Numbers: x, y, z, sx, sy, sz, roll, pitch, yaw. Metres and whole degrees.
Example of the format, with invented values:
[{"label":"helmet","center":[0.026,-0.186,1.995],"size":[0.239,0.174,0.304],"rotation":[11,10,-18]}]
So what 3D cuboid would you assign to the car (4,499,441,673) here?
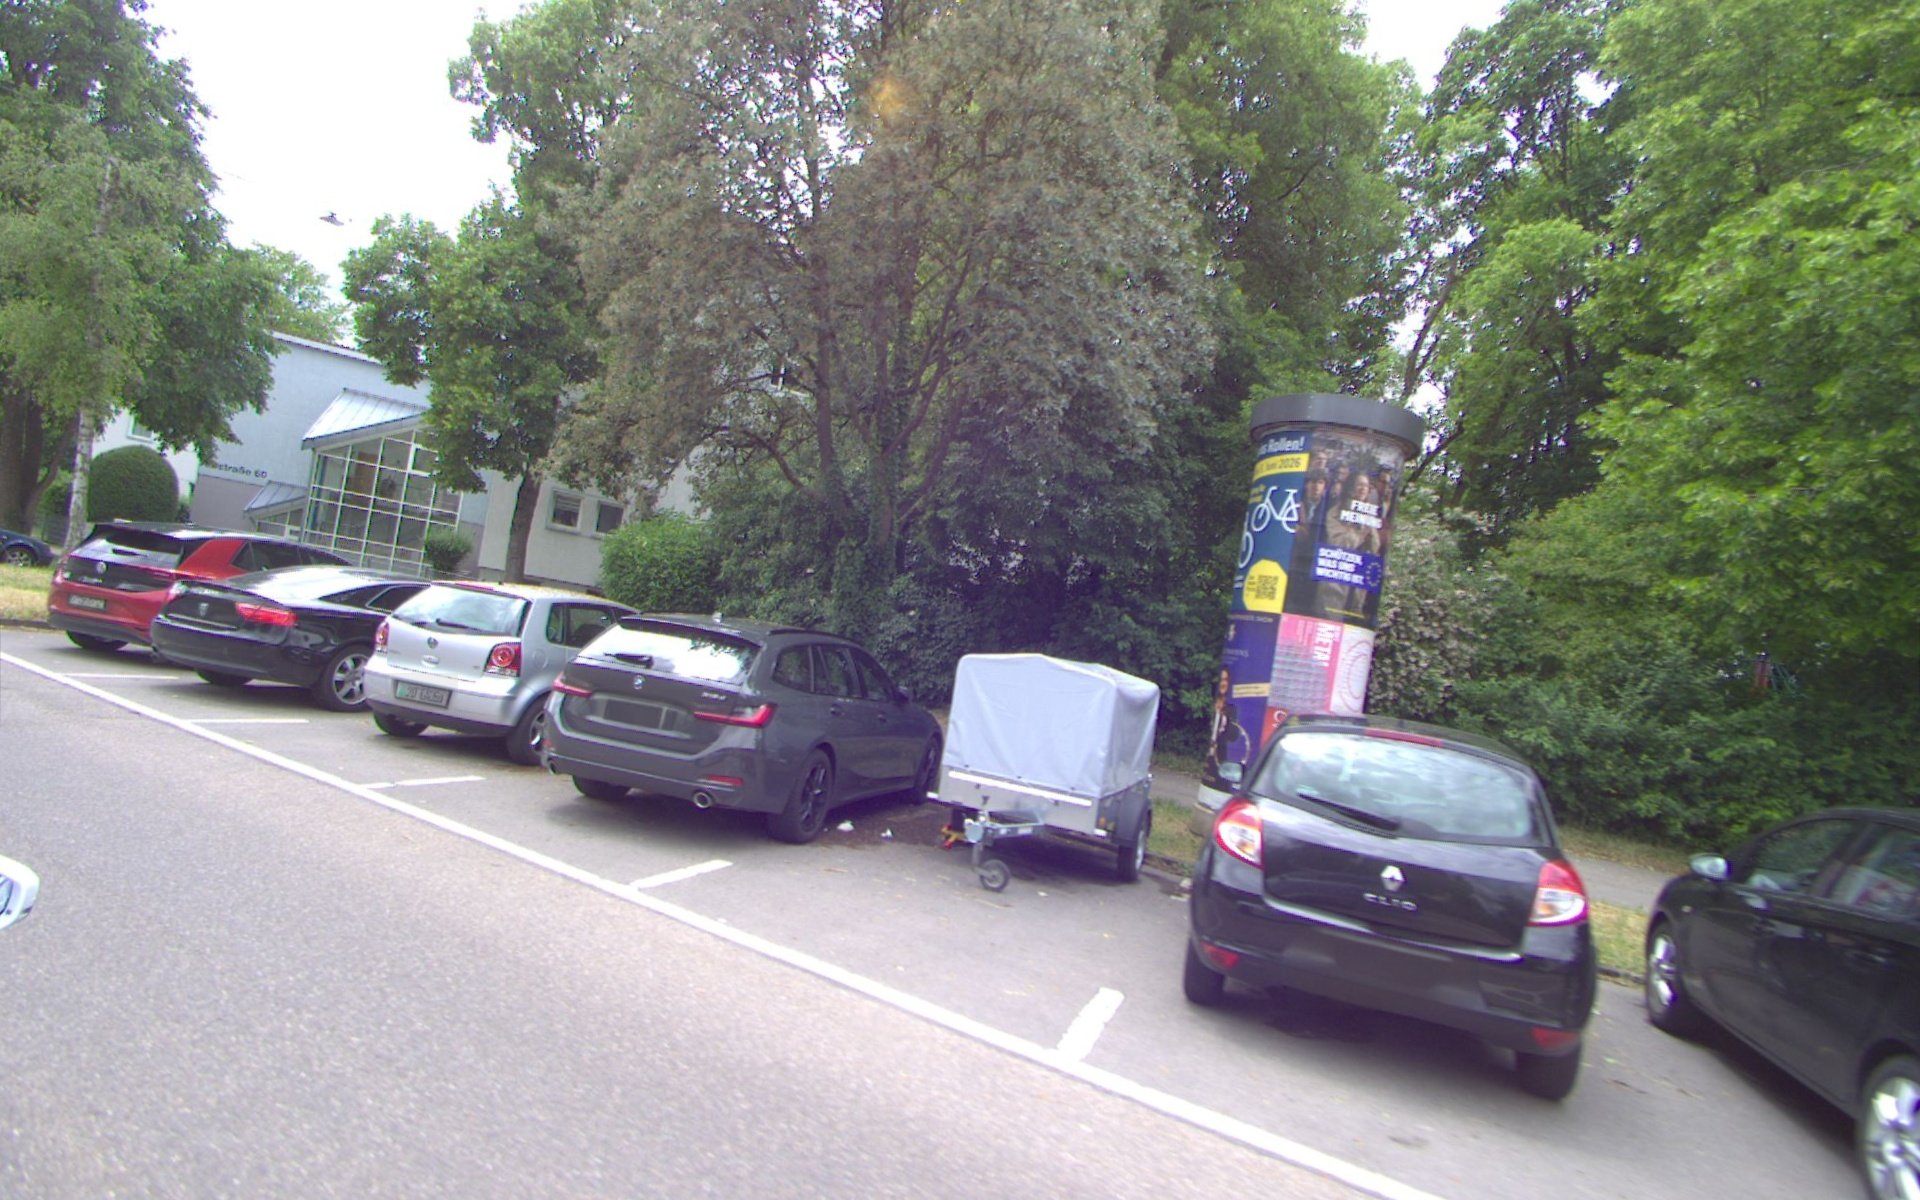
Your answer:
[{"label":"car","center":[-8.525,-0.011,12.193],"size":[1.700,1.532,4.092],"rotation":[8,-3,10]}]

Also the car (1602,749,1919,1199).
[{"label":"car","center":[4.418,1.617,4.473],"size":[1.588,1.502,3.931],"rotation":[8,-3,19]}]

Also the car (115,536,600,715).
[{"label":"car","center":[-6.073,0.415,10.873],"size":[1.701,1.355,4.334],"rotation":[8,-3,18]}]

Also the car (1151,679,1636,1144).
[{"label":"car","center":[2.329,1.375,5.800],"size":[1.604,1.471,3.858],"rotation":[8,-3,21]}]

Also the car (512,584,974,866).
[{"label":"car","center":[-1.357,0.948,8.258],"size":[1.603,1.461,4.366],"rotation":[8,-3,17]}]

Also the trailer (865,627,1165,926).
[{"label":"trailer","center":[0.592,1.180,7.467],"size":[1.279,1.558,3.001],"rotation":[8,-3,19]}]

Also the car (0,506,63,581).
[{"label":"car","center":[-20.959,-1.439,20.173],"size":[1.723,1.420,3.986],"rotation":[8,-4,17]}]

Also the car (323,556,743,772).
[{"label":"car","center":[-3.758,0.651,9.603],"size":[1.603,1.461,3.629],"rotation":[8,-3,16]}]

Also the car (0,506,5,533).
[{"label":"car","center":[-23.039,-1.722,21.016],"size":[1.723,1.420,4.050],"rotation":[8,-4,14]}]
